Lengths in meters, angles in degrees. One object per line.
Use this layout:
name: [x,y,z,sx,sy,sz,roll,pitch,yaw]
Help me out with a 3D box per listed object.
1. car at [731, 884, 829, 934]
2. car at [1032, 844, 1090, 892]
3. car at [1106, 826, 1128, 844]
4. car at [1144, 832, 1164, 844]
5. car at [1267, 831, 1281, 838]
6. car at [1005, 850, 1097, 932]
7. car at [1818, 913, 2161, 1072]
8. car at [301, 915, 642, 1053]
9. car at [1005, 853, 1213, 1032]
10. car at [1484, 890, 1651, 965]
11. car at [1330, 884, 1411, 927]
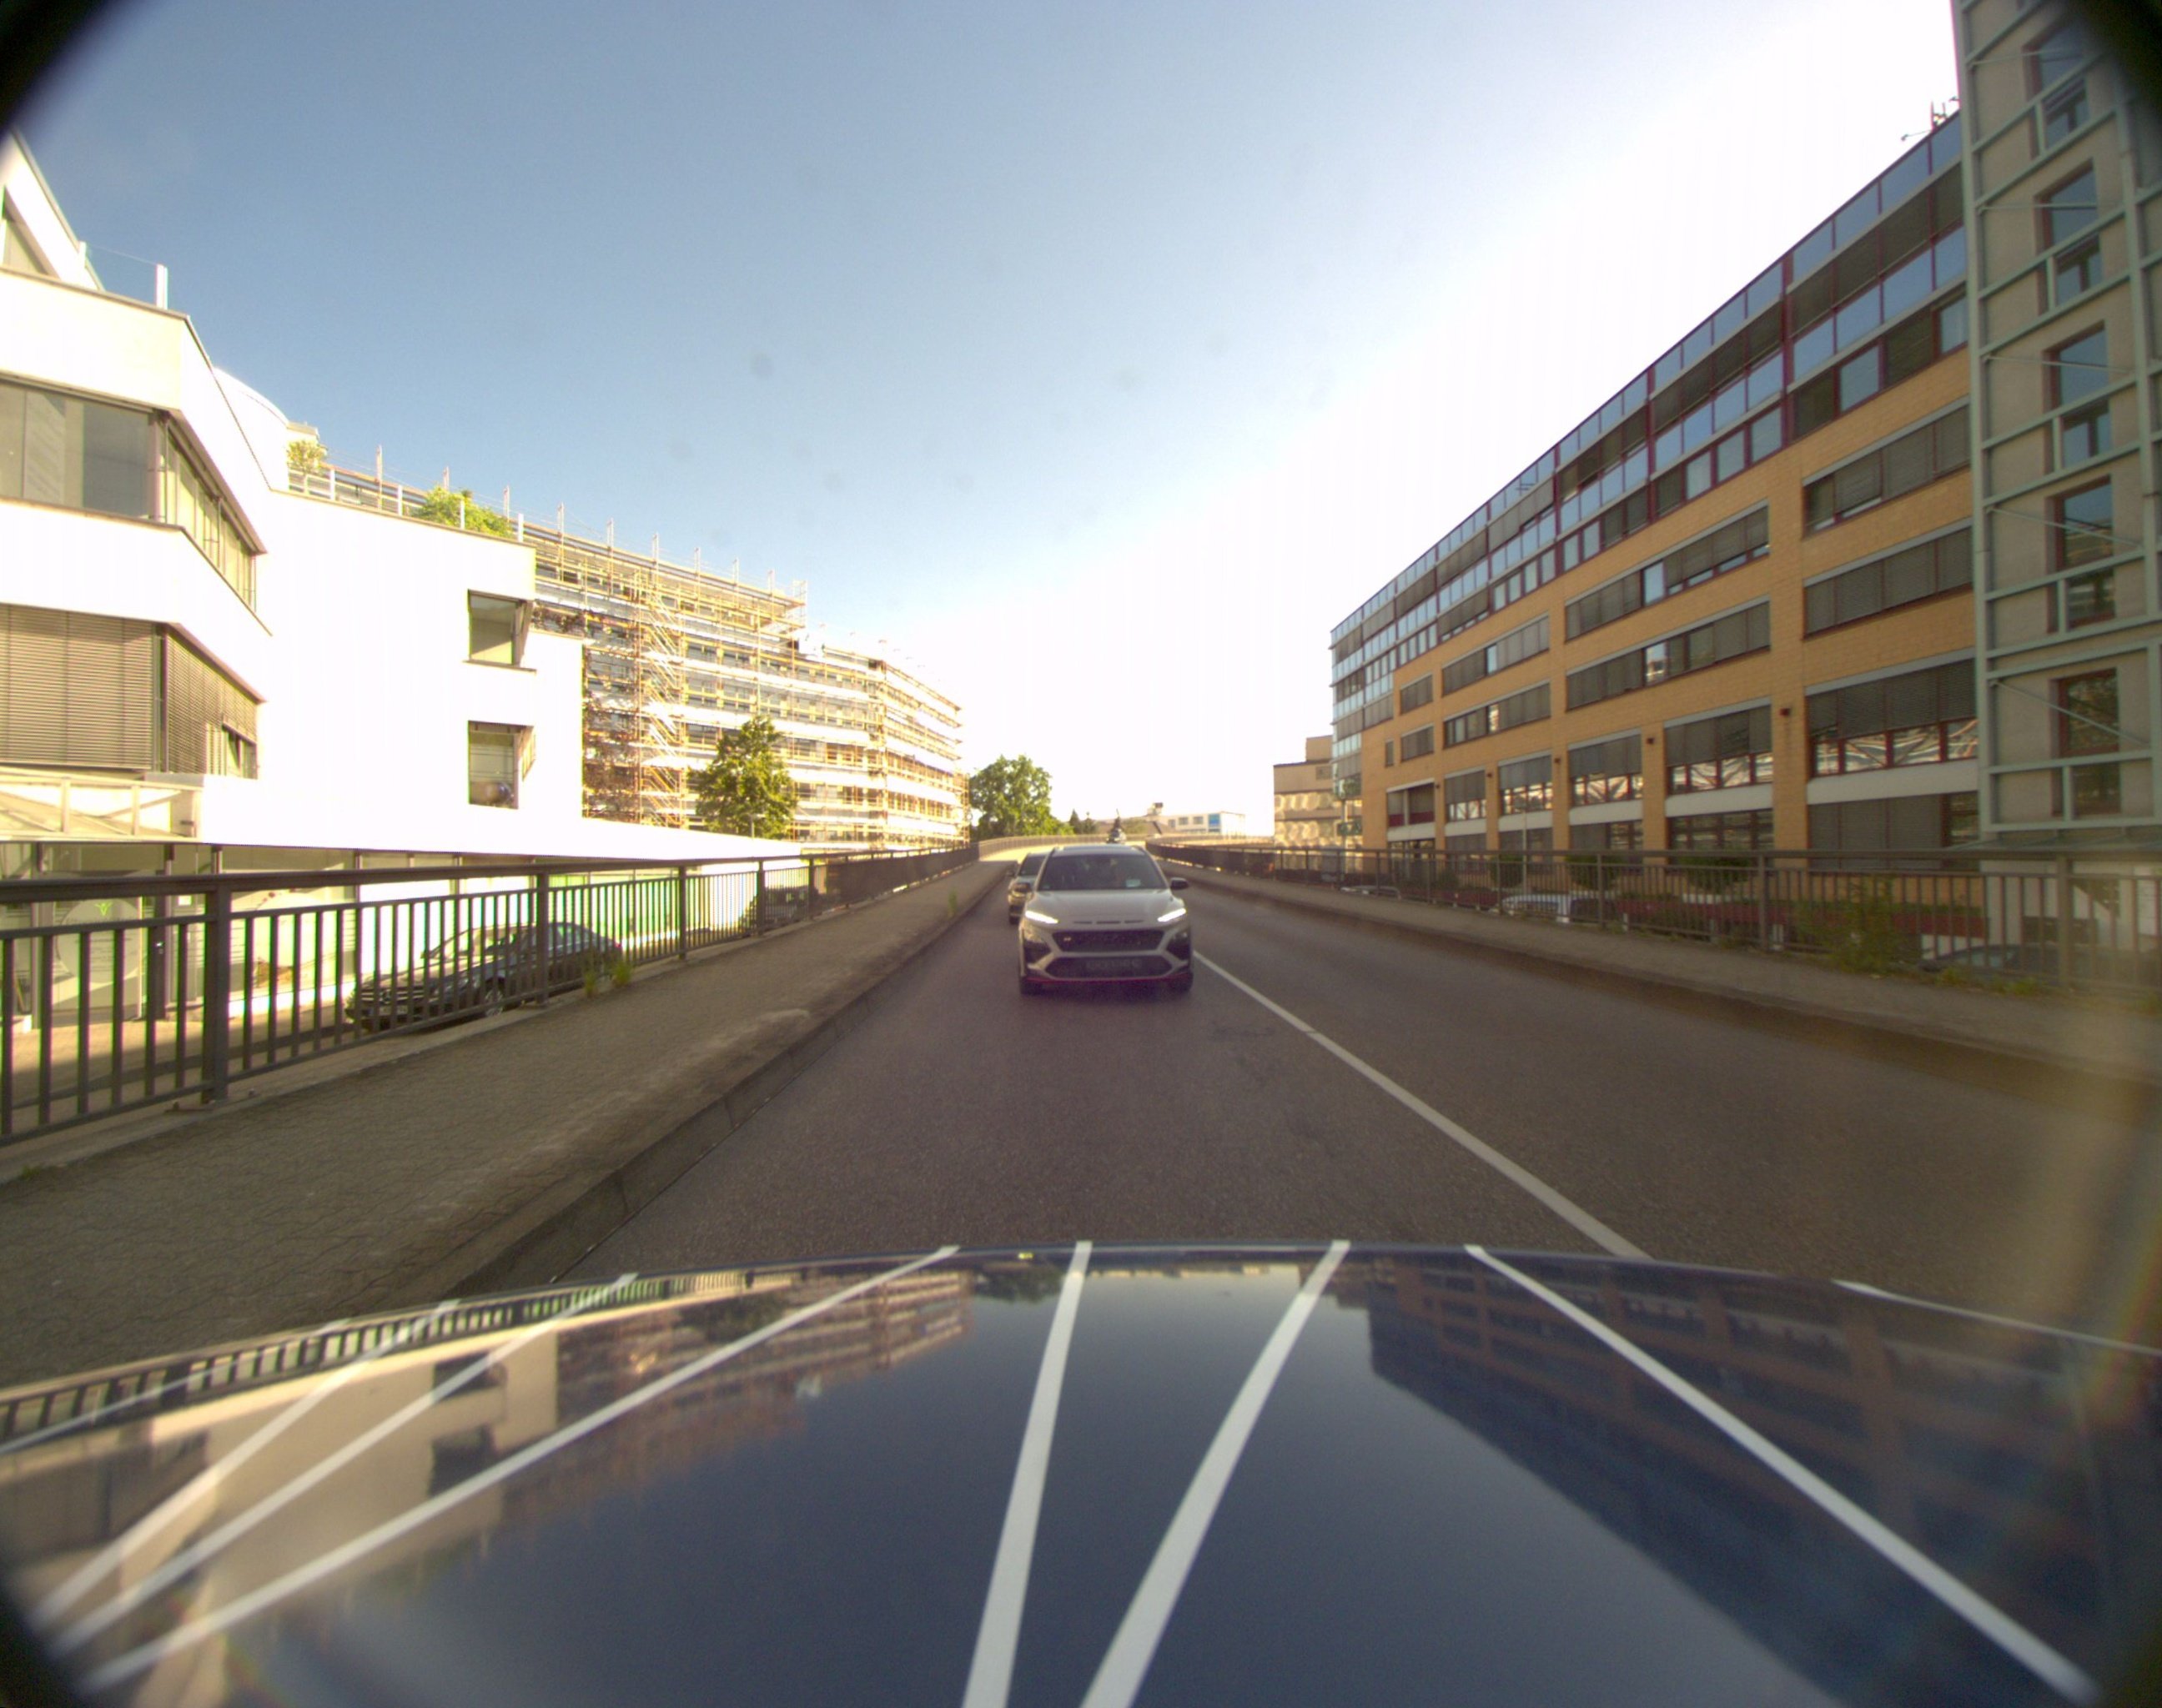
car: [-10.472,1.870,26.787,1.849,1.526,4.000,0,-1,0]
car: [-0.722,0.439,27.252,1.849,1.527,4.506,-2,1,-2]
car: [4.910,-2.588,102.263,1.907,2.202,4.602,1,3,17]
car: [10.188,-2.240,105.769,1.822,1.594,4.006,-1,0,21]
car: [39.546,-3.908,155.628,1.696,1.327,4.008,-1,0,33]
car: [-0.570,0.702,16.698,1.721,1.483,4.168,-2,1,0]
car: [13.400,1.763,10.635,1.825,1.594,4.356,0,-1,-3]
car: [-9.764,1.989,12.823,1.849,1.422,4.682,-2,1,1]
car: [0.197,0.797,8.970,1.849,1.561,4.220,-1,0,-2]
car: [13.059,1.907,20.740,1.998,1.714,4.000,0,-1,0]
car: [12.365,2.155,32.713,1.998,1.652,4.000,0,-1,0]
